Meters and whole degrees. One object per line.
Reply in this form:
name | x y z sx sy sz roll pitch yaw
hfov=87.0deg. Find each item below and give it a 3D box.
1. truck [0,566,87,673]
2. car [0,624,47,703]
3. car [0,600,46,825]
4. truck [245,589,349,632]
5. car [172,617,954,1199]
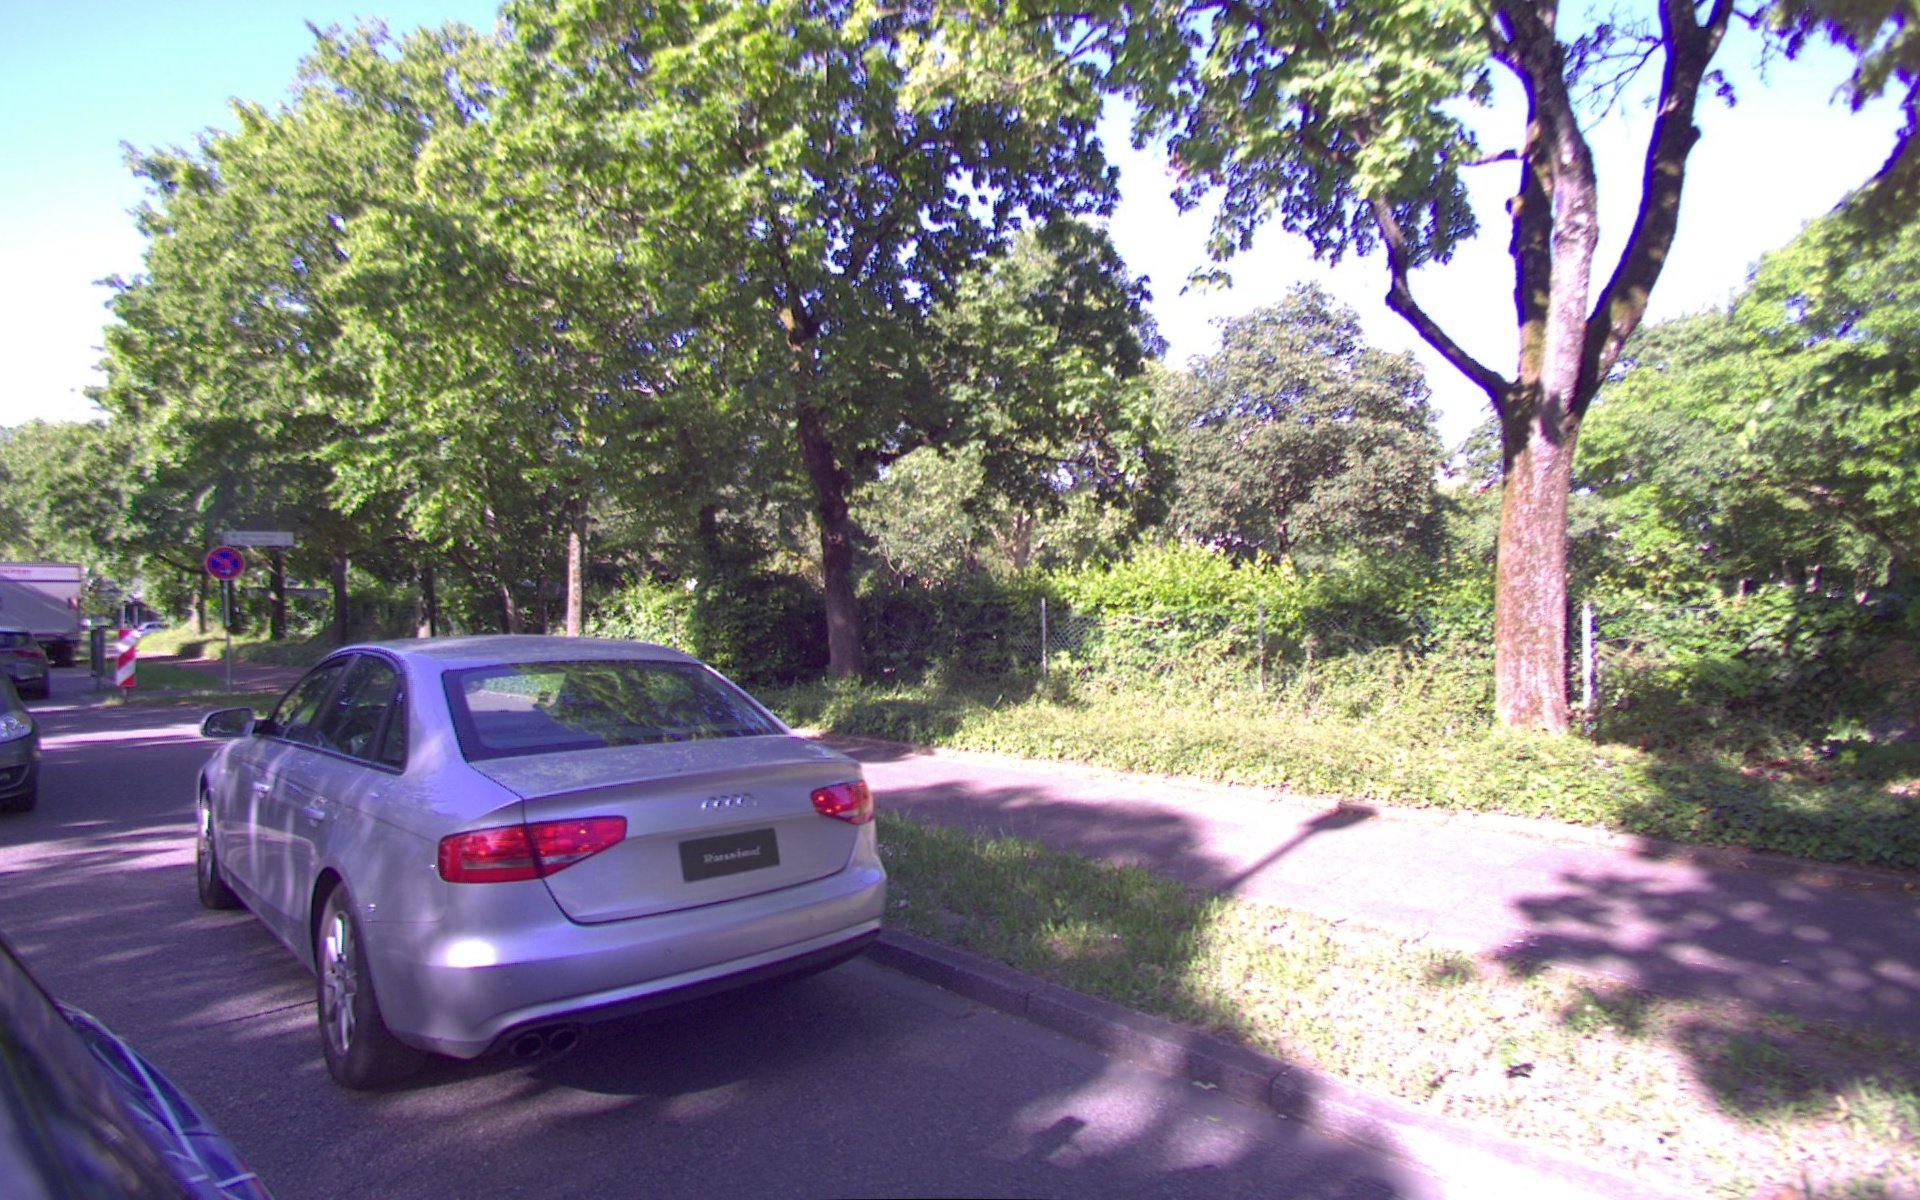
truck | -35.037 0.753 38.045 8.104 3.669 2.703 -2 -1 45
car | -19.528 1.219 20.087 4.243 1.465 1.736 -2 -3 44
car | -8.744 0.851 8.001 3.996 1.599 1.712 -2 -1 40
truck | -33.068 0.580 50.545 2.204 2.029 3.943 -2 -3 43
car | -2.063 0.826 4.407 1.765 1.427 4.108 2 -3 -43
